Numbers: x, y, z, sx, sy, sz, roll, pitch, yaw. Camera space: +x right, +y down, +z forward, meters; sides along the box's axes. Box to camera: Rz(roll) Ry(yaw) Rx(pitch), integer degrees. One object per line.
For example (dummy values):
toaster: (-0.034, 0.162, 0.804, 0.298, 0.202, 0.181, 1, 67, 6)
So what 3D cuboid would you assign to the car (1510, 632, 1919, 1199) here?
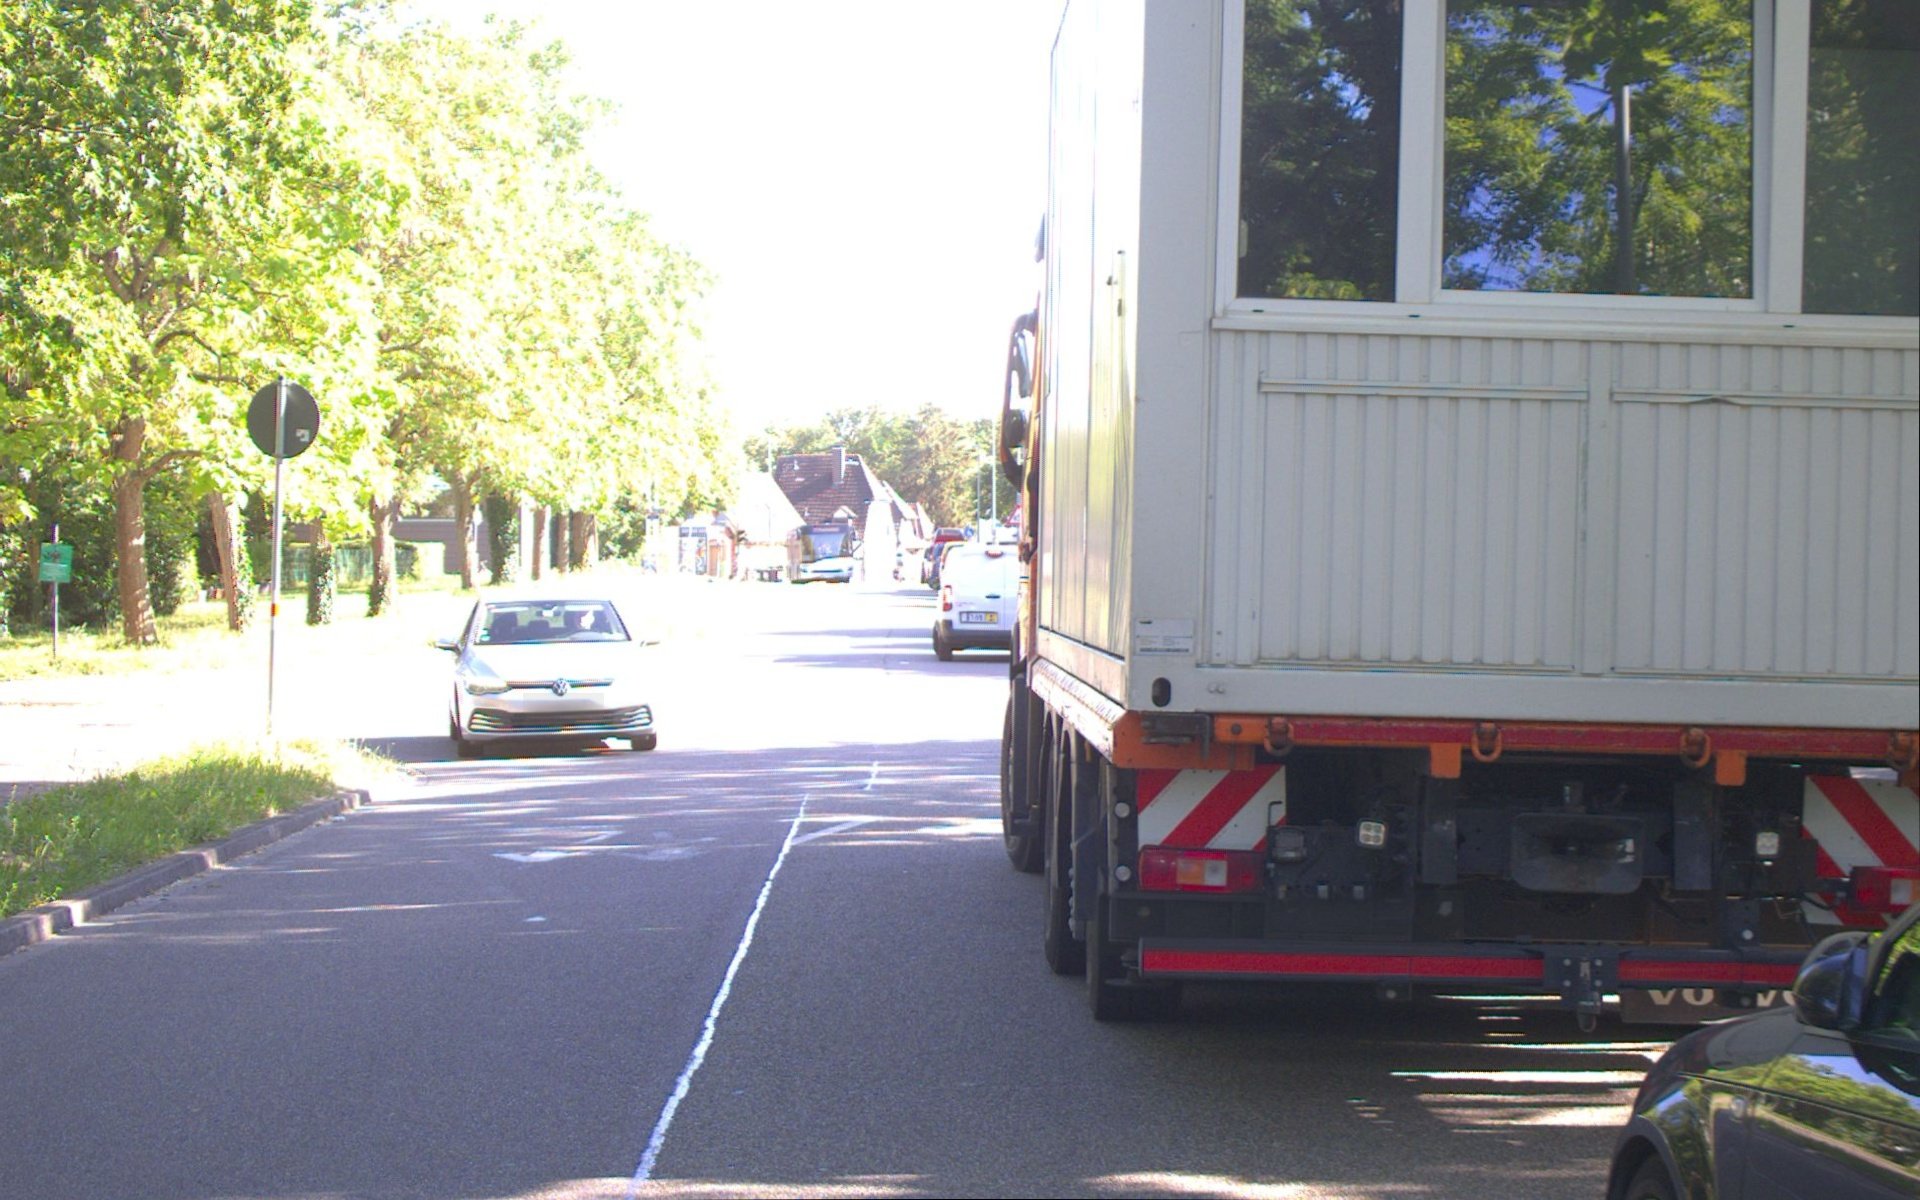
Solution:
car: (1.929, 0.810, 4.128, 1.639, 1.415, 4.001, 1, 1, -4)

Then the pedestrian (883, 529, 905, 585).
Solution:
pedestrian: (-2.510, -1.645, 130.716, 0.752, 2.106, 0.799, 2, 0, 2)

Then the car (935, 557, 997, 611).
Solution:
car: (0.172, -0.513, 107.782, 1.781, 1.647, 4.000, -1, 1, -2)

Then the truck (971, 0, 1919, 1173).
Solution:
truck: (1.638, -0.560, 14.309, 2.773, 3.982, 10.349, 1, 1, -2)

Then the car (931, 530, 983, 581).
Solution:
car: (-0.118, -1.611, 125.449, 1.781, 1.802, 4.000, -1, 1, -2)

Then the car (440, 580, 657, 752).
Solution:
car: (-3.848, 0.553, 31.669, 1.805, 1.415, 3.960, -2, 1, -9)

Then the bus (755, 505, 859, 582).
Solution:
bus: (-6.905, -2.571, 156.930, 4.065, 3.337, 9.800, -1, 1, 1)

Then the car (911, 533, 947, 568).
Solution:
car: (-1.603, -2.569, 178.230, 1.781, 1.802, 4.000, -1, 1, -2)

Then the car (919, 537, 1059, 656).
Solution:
car: (0.433, -0.077, 55.662, 1.946, 1.836, 4.001, 0, 1, -4)
